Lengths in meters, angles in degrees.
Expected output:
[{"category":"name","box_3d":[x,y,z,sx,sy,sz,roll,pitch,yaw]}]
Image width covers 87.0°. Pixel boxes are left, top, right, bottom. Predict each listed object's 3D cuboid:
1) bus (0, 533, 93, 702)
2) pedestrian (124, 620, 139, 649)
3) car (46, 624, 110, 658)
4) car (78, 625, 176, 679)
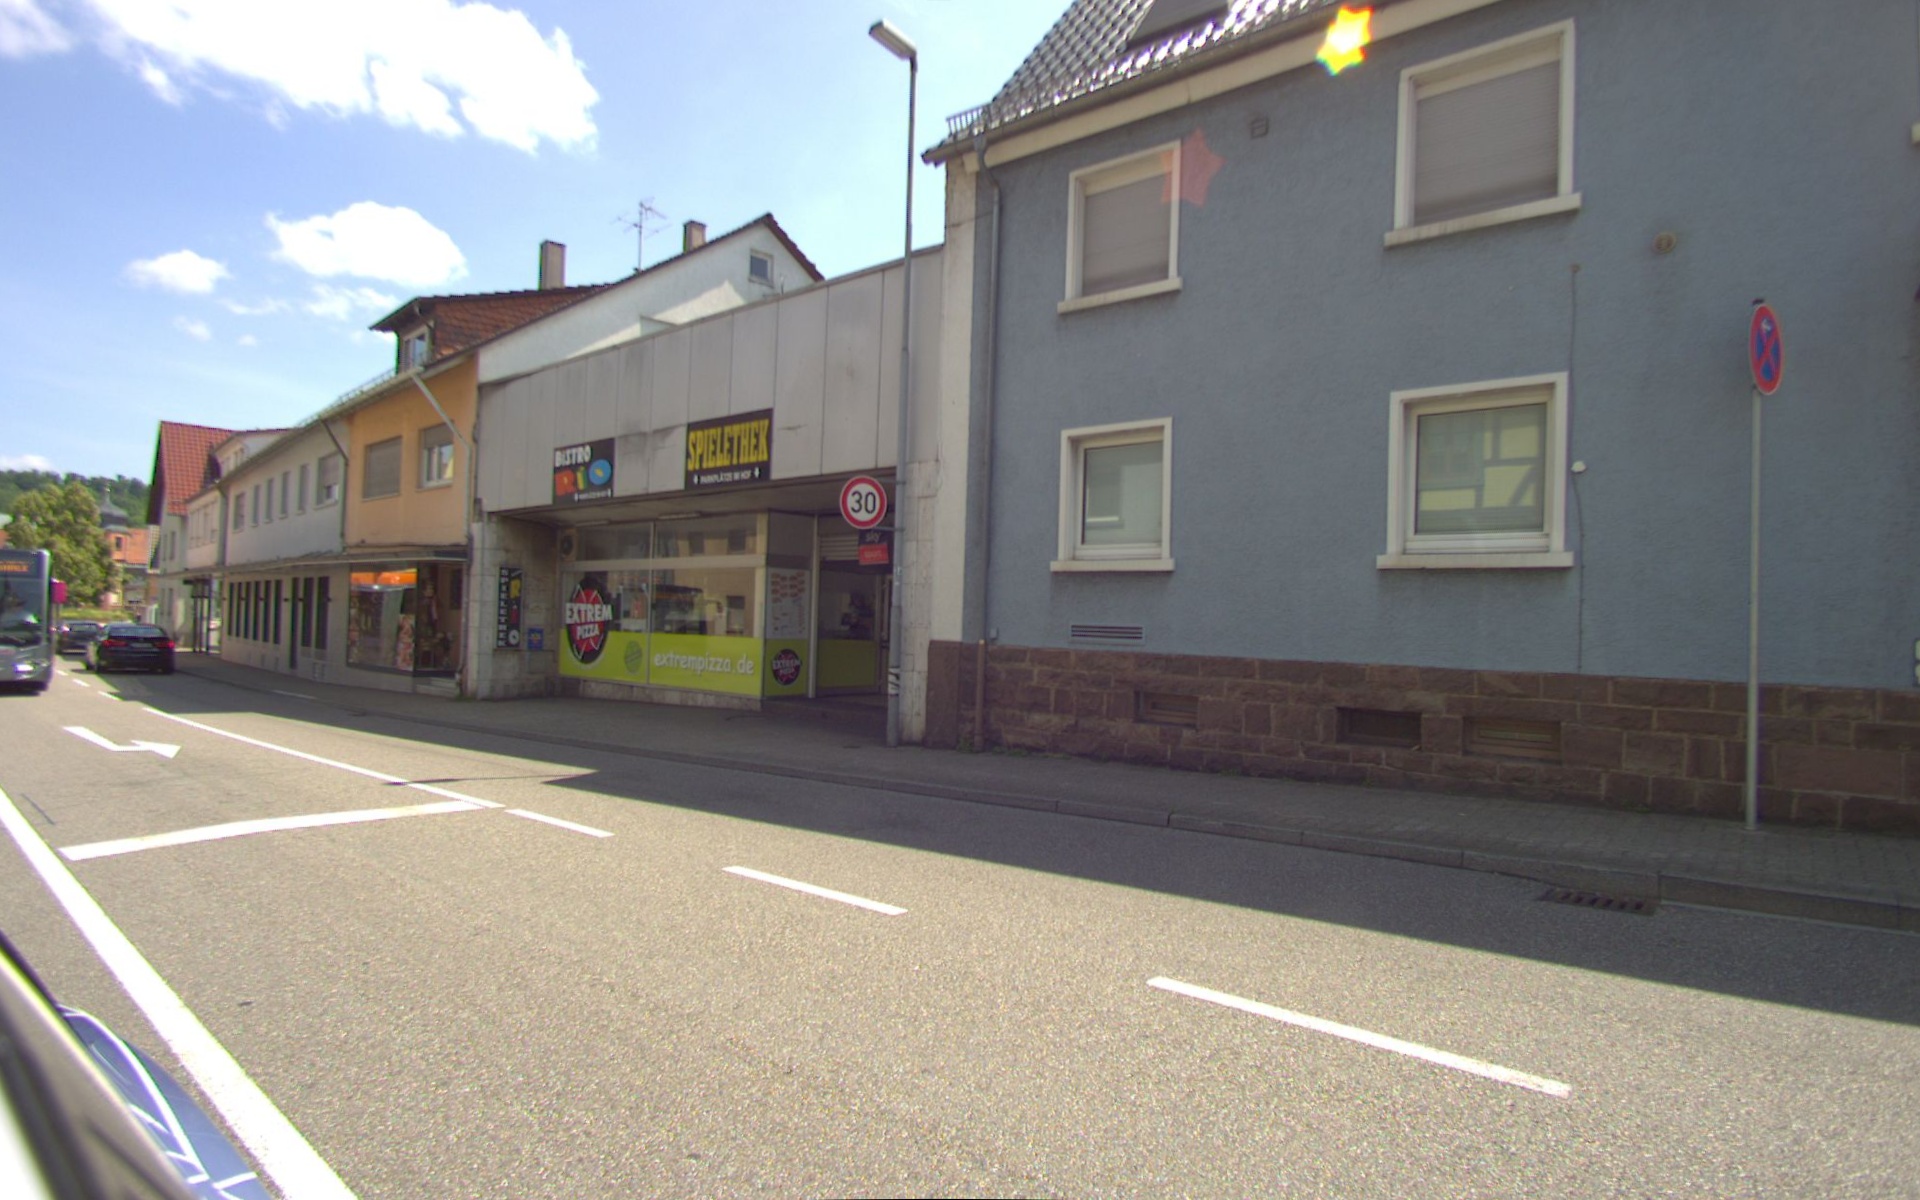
[{"category":"bus","box_3d":[-25.005,0.550,26.240,2.815,3.229,19.071,1,-2,-38]},{"category":"pedestrian","box_3d":[-52.084,2.173,63.623,0.476,1.777,0.467,1,-2,23]},{"category":"car","box_3d":[-39.020,1.829,44.768,3.820,1.434,1.698,-2,-5,43]},{"category":"car","box_3d":[-26.239,1.599,31.822,4.798,1.498,1.776,-1,-5,44]}]
